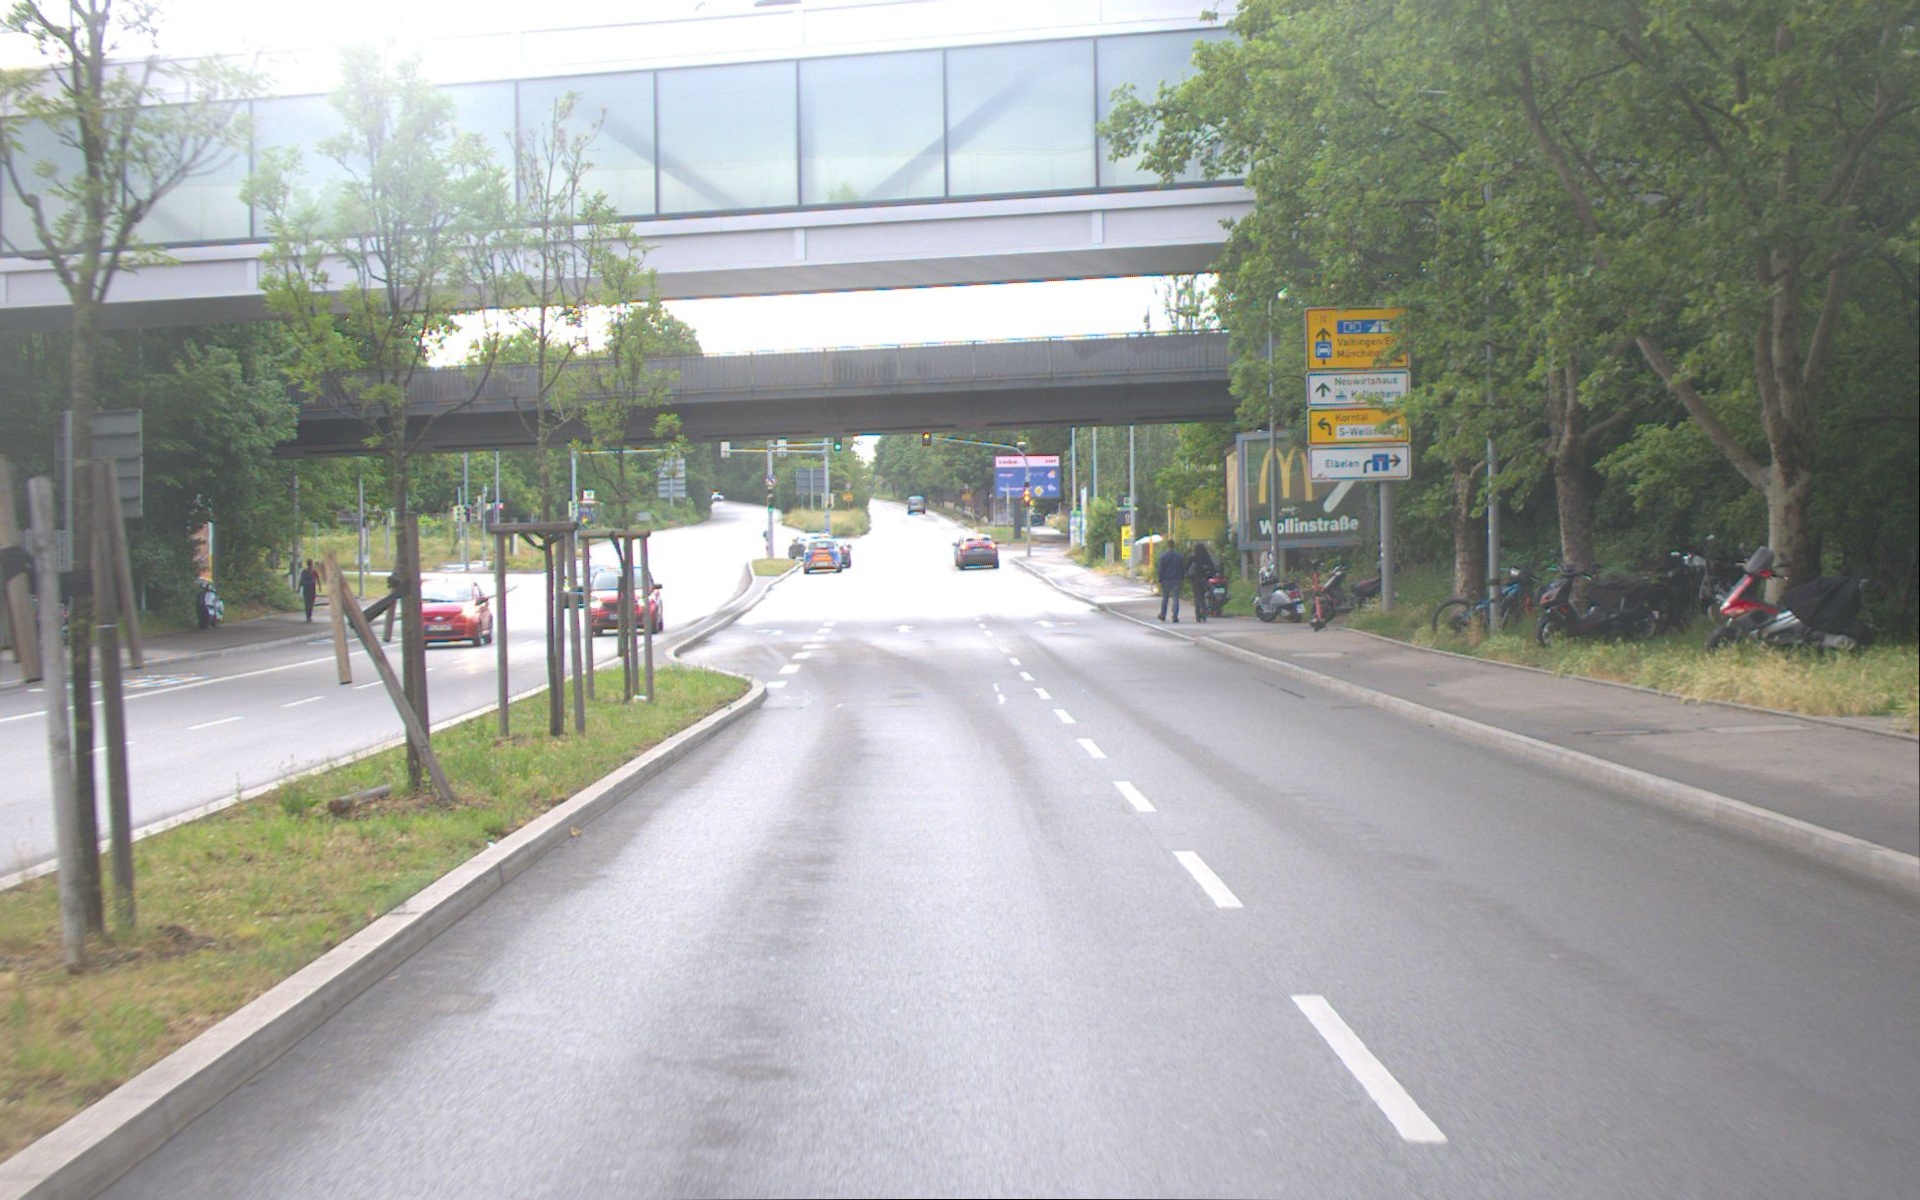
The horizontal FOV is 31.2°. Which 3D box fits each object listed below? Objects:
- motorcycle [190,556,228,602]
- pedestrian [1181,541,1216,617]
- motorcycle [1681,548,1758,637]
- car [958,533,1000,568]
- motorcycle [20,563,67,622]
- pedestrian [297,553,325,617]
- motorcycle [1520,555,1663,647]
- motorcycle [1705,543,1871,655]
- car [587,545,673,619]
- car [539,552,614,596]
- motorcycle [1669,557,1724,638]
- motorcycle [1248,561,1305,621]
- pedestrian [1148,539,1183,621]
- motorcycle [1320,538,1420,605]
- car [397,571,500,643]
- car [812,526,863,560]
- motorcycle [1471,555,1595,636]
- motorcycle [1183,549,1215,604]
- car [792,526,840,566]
[{"bbox_3d":[-19.686,-0.563,90.099,0.468,1.154,1.932,-1,1,2],"label":"motorcycle"},{"bbox_3d":[5.061,-0.442,72.908,0.651,1.590,0.578,-1,1,11],"label":"pedestrian"},{"bbox_3d":[11.315,-0.116,51.270,0.645,1.275,1.991,-1,0,-1],"label":"motorcycle"},{"bbox_3d":[0.826,-2.210,152.219,1.744,1.465,4.166,0,2,-2],"label":"car"},{"bbox_3d":[-19.440,-0.169,72.938,0.468,1.200,1.997,-2,1,-1],"label":"motorcycle"},{"bbox_3d":[-18.453,-0.425,97.730,0.520,1.809,0.799,0,1,9],"label":"pedestrian"},{"bbox_3d":[8.520,0.010,46.377,1.848,1.187,0.522,-2,1,-16],"label":"motorcycle"},{"bbox_3d":[8.747,-0.012,36.346,1.653,1.146,0.493,1,0,7],"label":"motorcycle"},{"bbox_3d":[-7.573,-0.419,79.139,1.585,1.600,3.856,-3,0,-1],"label":"car"},{"bbox_3d":[-12.449,-0.863,111.795,2.063,1.357,4.757,-2,1,-2],"label":"car"},{"bbox_3d":[12.250,-0.050,57.174,0.348,1.275,2.068,-1,1,27],"label":"motorcycle"},{"bbox_3d":[6.552,-0.193,71.241,0.469,1.209,1.945,-2,1,-16],"label":"motorcycle"},{"bbox_3d":[4.379,-0.425,73.133,0.611,1.715,0.891,-1,1,9],"label":"pedestrian"},{"bbox_3d":[8.250,-0.575,69.198,1.942,1.293,0.546,-1,1,34],"label":"motorcycle"},{"bbox_3d":[-10.999,0.137,74.093,1.715,1.432,3.772,-3,0,-2],"label":"car"},{"bbox_3d":[-5.916,-2.751,166.277,2.166,1.577,4.664,1,0,2],"label":"car"},{"bbox_3d":[9.234,-0.081,55.415,1.848,1.248,0.630,-2,1,-16],"label":"motorcycle"},{"bbox_3d":[5.087,-0.503,73.201,0.469,1.133,1.819,-2,1,-1],"label":"motorcycle"},{"bbox_3d":[-6.421,-2.393,153.009,2.076,1.712,4.199,1,0,-3],"label":"car"}]
